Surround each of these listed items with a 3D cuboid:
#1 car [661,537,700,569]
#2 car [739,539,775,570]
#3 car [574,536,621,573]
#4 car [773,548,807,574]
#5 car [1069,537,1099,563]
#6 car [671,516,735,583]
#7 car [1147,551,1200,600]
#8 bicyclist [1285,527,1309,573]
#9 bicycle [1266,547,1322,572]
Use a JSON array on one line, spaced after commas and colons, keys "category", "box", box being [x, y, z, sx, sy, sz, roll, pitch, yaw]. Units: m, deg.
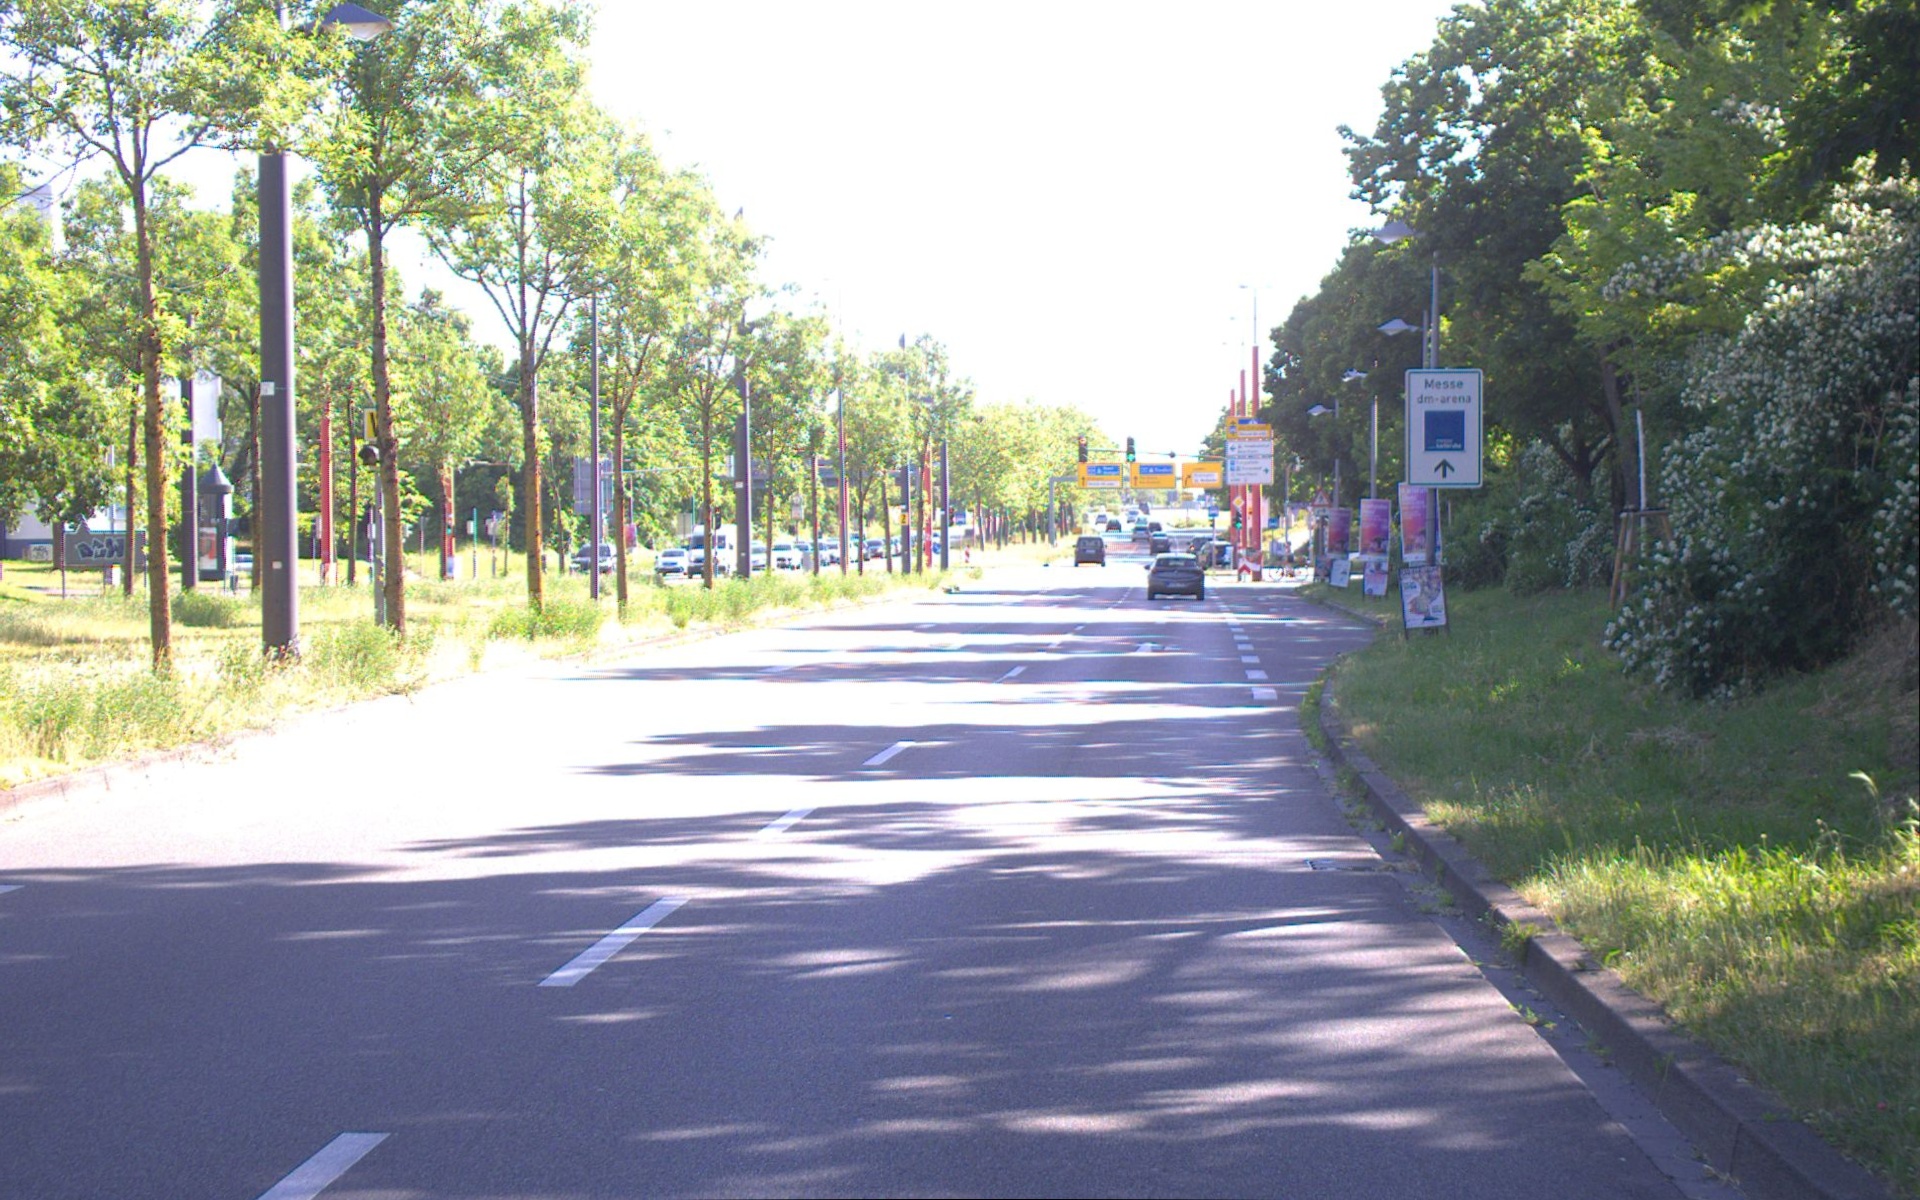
[{"category": "car", "box": [-14.871, -2.524, 182.983, 1.631, 1.675, 4.192, 0, 1, 2]}, {"category": "car", "box": [-11.312, -2.550, 191.434, 1.631, 1.675, 4.192, 0, 1, 2]}, {"category": "car", "box": [-16.747, -2.126, 158.946, 1.631, 1.675, 4.192, 0, 1, 2]}, {"category": "car", "box": [-9.868, -2.283, 200.100, 1.631, 1.440, 4.192, 0, 1, 2]}, {"category": "car", "box": [7.301, -2.963, 202.007, 1.634, 1.493, 4.234, 0, 1, 4]}, {"category": "car", "box": [-12.666, -2.486, 169.728, 2.465, 3.228, 6.134, 1, 0, 2]}, {"category": "car", "box": [6.760, -0.802, 108.553, 1.634, 1.493, 4.234, 0, 1, 4]}, {"category": "bicyclist", "box": [14.797, -2.212, 150.819, 1.009, 2.000, 0.812, 0, 1, 4]}, {"category": "bicycle", "box": [14.655, -1.769, 150.835, 2.415, 1.105, 0.812, 0, 1, 4]}]
